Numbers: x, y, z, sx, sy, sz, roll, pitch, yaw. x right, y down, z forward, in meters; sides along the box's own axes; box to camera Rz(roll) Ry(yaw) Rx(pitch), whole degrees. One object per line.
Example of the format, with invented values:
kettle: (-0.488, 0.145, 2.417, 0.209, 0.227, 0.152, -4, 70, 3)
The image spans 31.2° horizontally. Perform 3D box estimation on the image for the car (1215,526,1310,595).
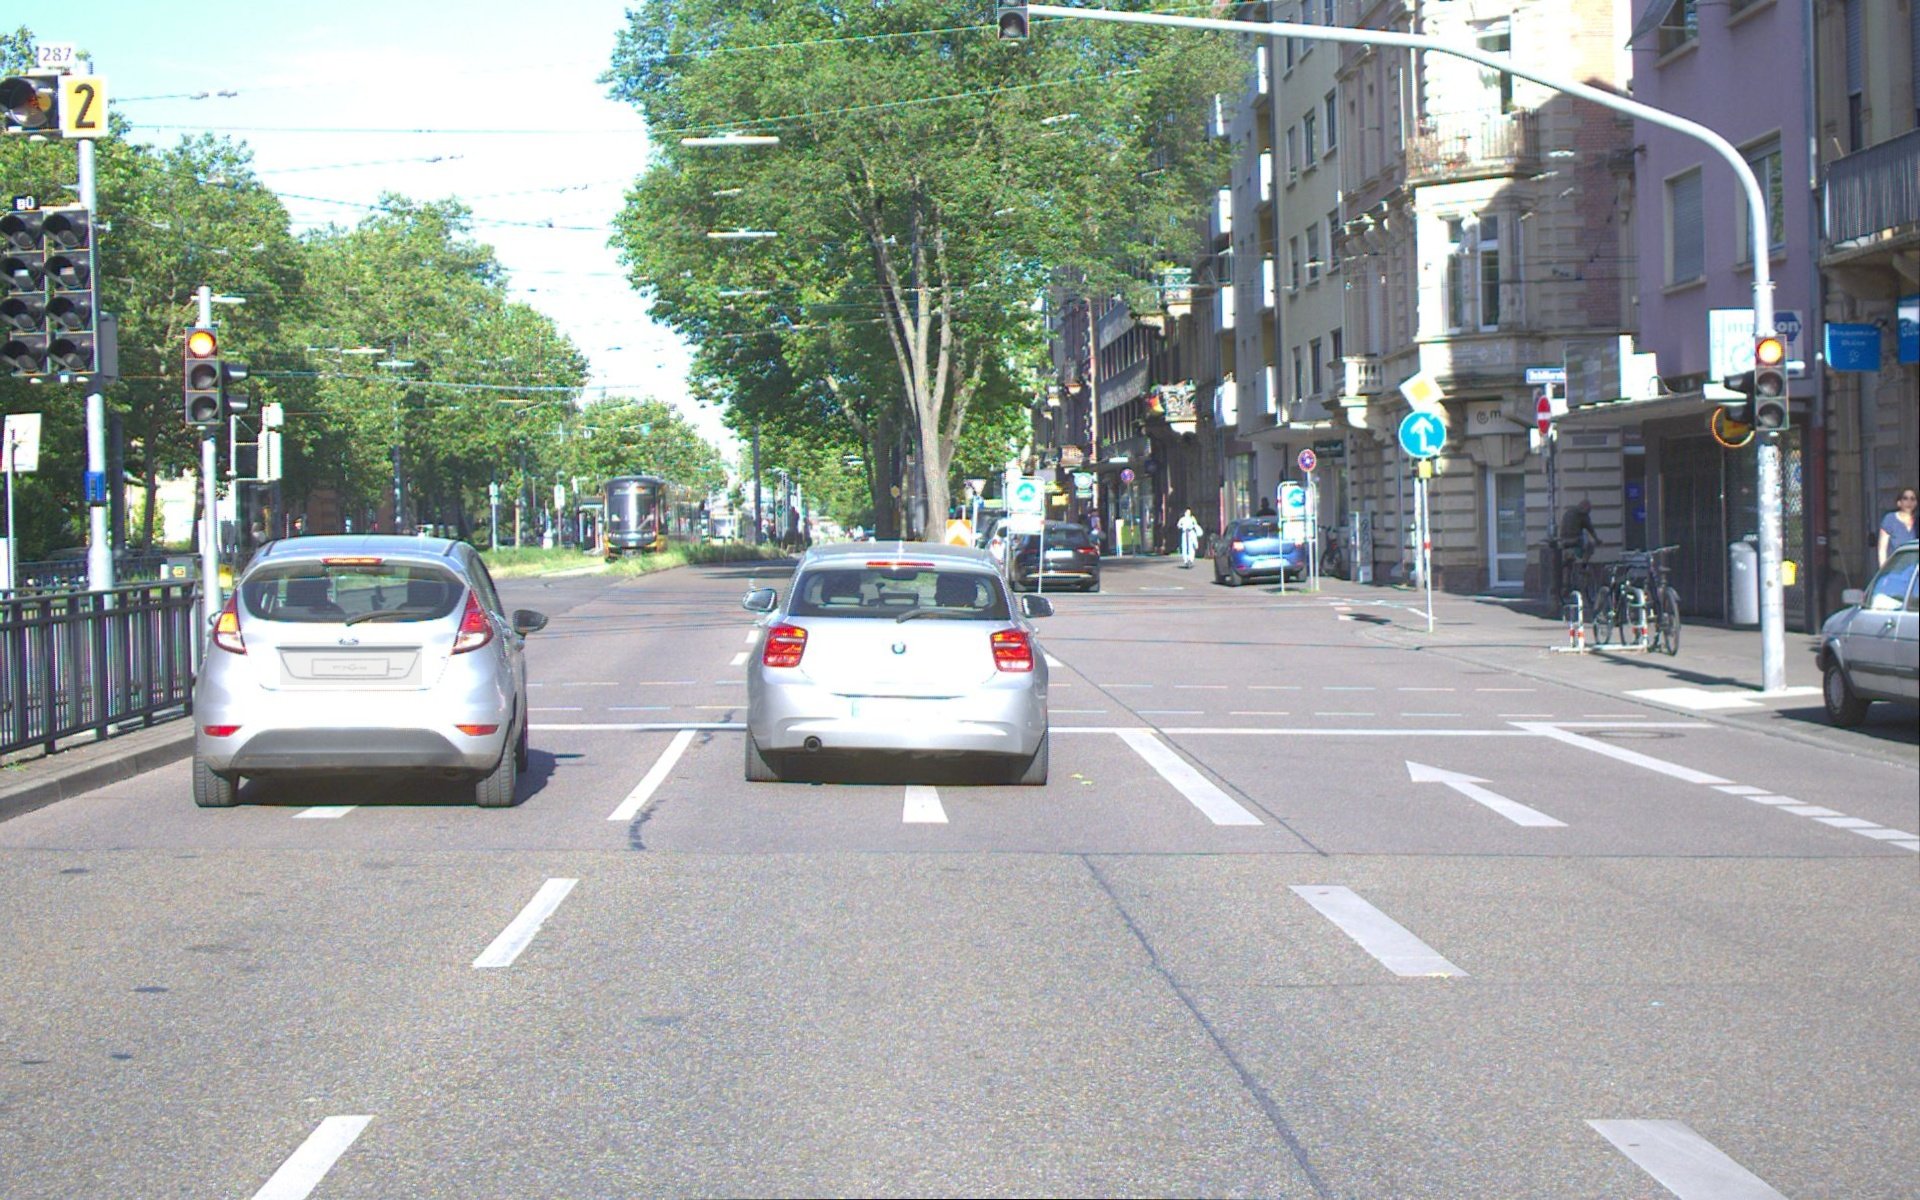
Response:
car: (6.841, -0.922, 78.039, 1.735, 1.514, 3.637, 0, 1, -2)

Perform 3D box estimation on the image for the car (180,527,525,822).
car: (-3.350, 0.338, 19.533, 1.609, 1.462, 3.891, -1, 2, -6)

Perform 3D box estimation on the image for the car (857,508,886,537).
car: (-6.336, -5.532, 246.525, 1.993, 2.007, 4.000, -1, 1, -1)

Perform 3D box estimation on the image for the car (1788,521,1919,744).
car: (7.148, 0.174, 24.112, 1.562, 1.411, 4.004, -4, 2, -1)

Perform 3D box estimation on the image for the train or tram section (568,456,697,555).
train or tram section: (-13.595, -3.937, 144.249, 3.969, 3.852, 17.490, -1, 1, -1)

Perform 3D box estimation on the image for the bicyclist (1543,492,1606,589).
bicyclist: (9.673, -0.939, 54.100, 0.548, 1.496, 0.959, 0, 2, 41)

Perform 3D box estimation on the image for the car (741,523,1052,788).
car: (-0.396, 0.269, 21.435, 1.740, 1.462, 4.000, 1, 1, -1)

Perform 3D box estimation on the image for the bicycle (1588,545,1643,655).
bicycle: (7.096, -0.011, 37.256, 0.414, 1.137, 1.809, 0, 2, 5)

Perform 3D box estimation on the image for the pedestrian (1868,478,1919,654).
pedestrian: (9.171, -0.334, 33.451, 0.549, 1.702, 0.388, -1, 1, 2)

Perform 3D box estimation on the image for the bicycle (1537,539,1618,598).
bicycle: (9.725, -0.503, 54.133, 0.654, 0.900, 1.335, 1, 2, 41)

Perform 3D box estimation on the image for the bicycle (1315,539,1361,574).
bicycle: (8.587, -1.003, 78.199, 0.754, 0.768, 1.946, -1, 1, -2)

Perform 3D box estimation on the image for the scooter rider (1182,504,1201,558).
scooter rider: (6.458, -1.923, 95.916, 0.465, 1.500, 0.811, 0, 0, -1)

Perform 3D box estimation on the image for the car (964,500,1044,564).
car: (1.038, -1.642, 82.920, 1.724, 1.501, 3.555, 0, 1, -2)

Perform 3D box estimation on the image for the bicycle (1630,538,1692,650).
bicycle: (7.597, -0.078, 37.284, 0.448, 1.155, 1.758, -1, 2, 5)

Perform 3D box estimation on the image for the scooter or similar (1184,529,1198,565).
scooter or similar: (6.454, -1.483, 96.076, 0.337, 0.984, 1.284, -1, 2, 1)

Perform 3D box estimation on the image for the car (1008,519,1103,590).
car: (1.985, -0.980, 72.070, 1.735, 1.428, 3.678, 0, 1, -2)
